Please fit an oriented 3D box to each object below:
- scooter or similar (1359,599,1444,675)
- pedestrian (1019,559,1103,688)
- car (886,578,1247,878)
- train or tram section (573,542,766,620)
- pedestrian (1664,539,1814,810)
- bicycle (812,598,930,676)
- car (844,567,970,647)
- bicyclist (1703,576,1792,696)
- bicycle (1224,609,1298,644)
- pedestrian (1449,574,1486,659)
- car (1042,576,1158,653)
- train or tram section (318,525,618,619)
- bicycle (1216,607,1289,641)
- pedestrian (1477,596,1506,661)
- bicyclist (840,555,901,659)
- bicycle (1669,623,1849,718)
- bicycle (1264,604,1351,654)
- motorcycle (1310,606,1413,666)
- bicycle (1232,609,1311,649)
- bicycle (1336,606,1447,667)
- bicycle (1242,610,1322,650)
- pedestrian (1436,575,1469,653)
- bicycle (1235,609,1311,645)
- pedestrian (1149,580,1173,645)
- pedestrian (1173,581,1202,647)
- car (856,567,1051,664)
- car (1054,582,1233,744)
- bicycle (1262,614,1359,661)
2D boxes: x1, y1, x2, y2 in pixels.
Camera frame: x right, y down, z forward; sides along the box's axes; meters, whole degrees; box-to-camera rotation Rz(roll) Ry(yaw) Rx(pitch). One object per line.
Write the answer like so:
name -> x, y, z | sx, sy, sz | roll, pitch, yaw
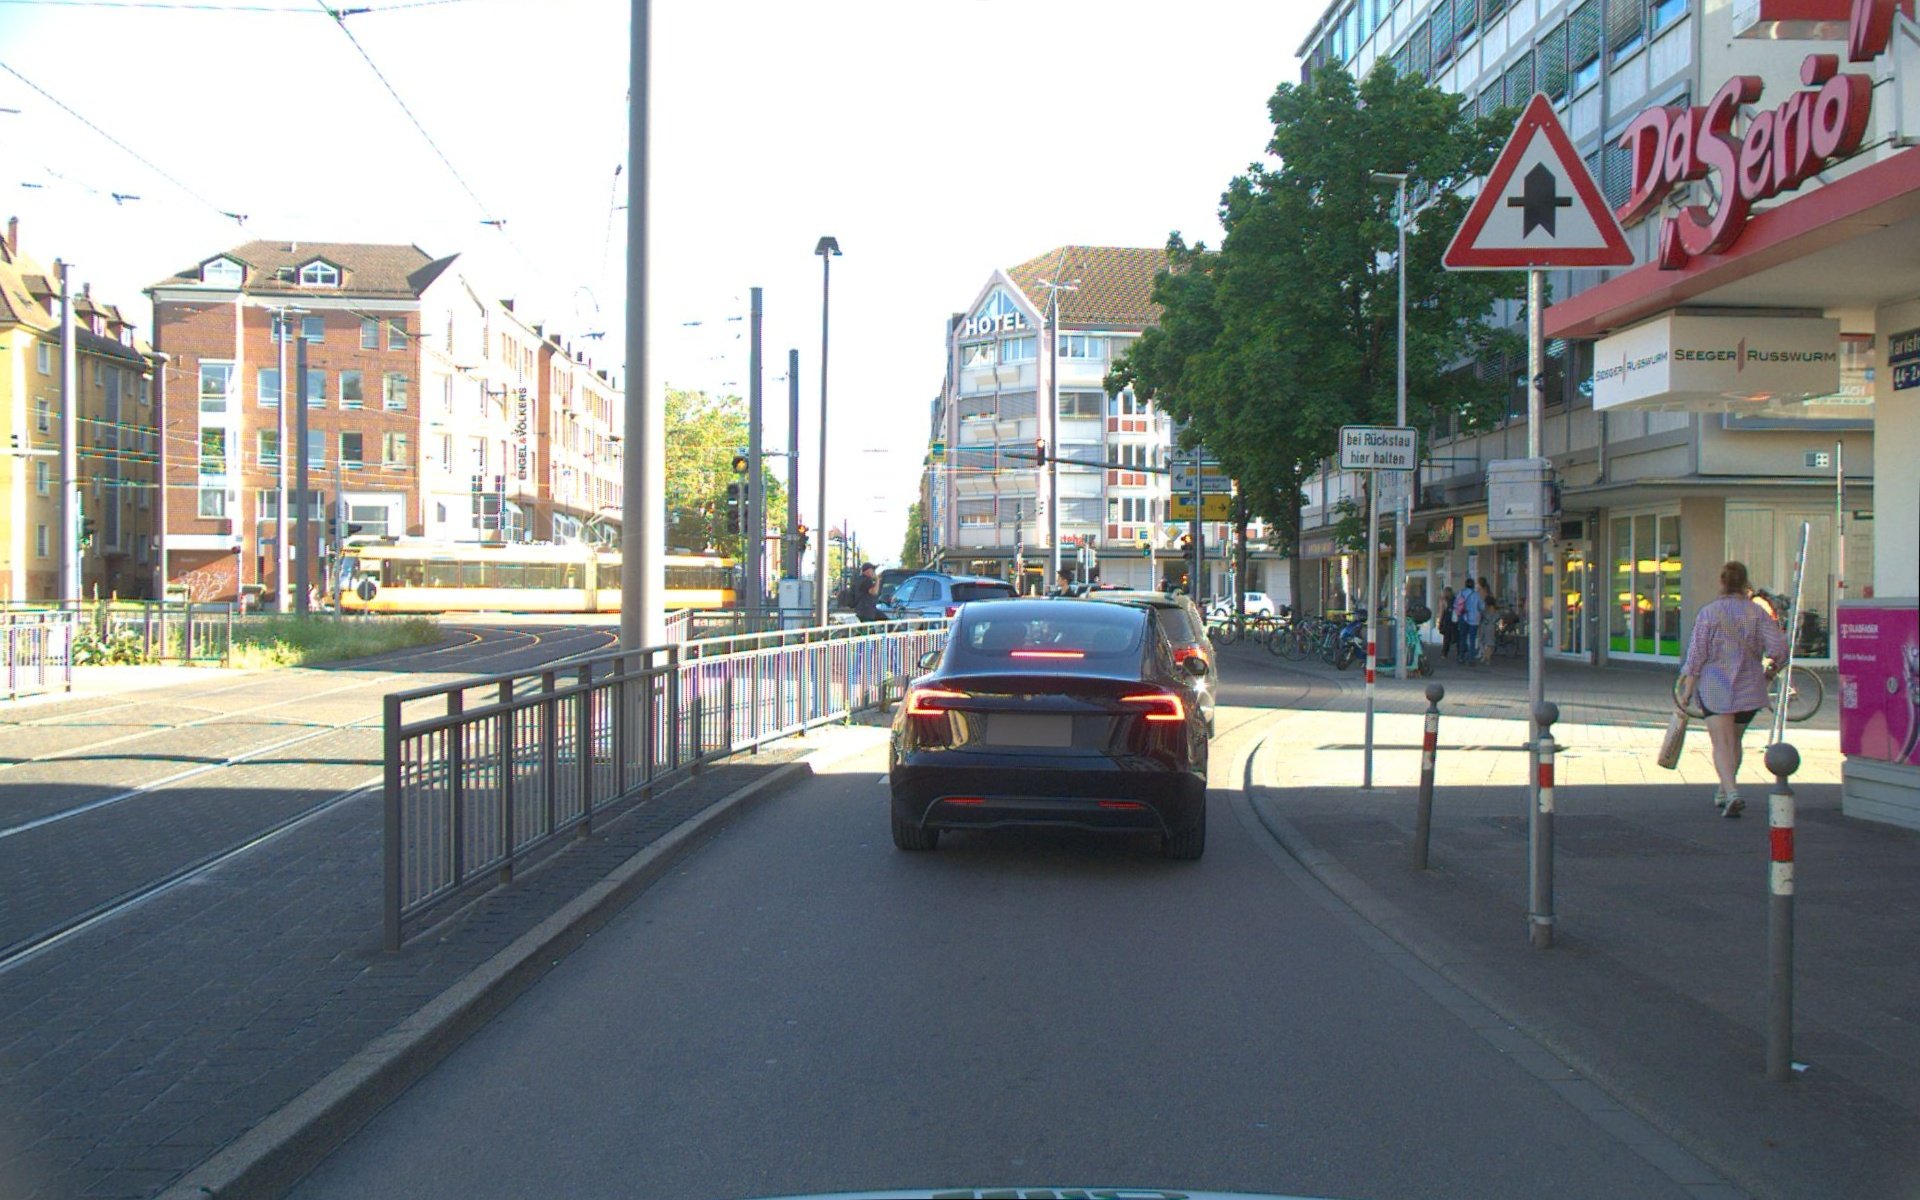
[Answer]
scooter or similar -> 7.943, 0.662, 29.754 | 1.392, 1.340, 0.690 | 1, -2, -27
pedestrian -> 1.418, 0.332, 23.241 | 0.992, 1.772, 0.524 | 2, 0, -27
car -> 0.478, 0.669, 10.484 | 1.812, 1.510, 3.785 | 2, 0, -3
train or tram section -> -15.389, -0.871, 89.855 | 2.583, 3.783, 15.384 | 2, 0, 22
pedestrian -> 5.186, 0.478, 11.054 | 0.800, 1.712, 0.714 | 2, 0, 21
bicycle -> -1.354, 0.556, 25.090 | 1.696, 1.107, 0.676 | 2, 0, -10
car -> -1.211, 0.127, 35.749 | 1.794, 1.545, 4.202 | 2, 0, -15
bicyclist -> 10.024, 0.454, 21.079 | 0.888, 1.463, 0.629 | 2, 0, 16
bicycle -> 8.078, 0.714, 44.419 | 1.885, 0.906, 0.526 | 1, 0, -1
pedestrian -> 10.144, 0.324, 33.041 | 0.583, 1.670, 0.466 | 0, 0, -1
car -> 3.014, 0.303, 36.417 | 1.790, 1.545, 3.644 | 2, 0, -7
train or tram section -> -22.651, -1.184, 77.481 | 2.635, 3.780, 14.107 | 2, 0, 41
bicycle -> 8.029, 0.662, 45.404 | 1.885, 0.906, 0.526 | 1, 0, -1
pedestrian -> 10.695, 0.573, 33.289 | 0.411, 1.303, 0.531 | 0, 0, 0
bicyclist -> -1.361, 0.102, 25.081 | 0.821, 1.526, 0.559 | 2, 0, -10
bicycle -> 10.129, 0.878, 21.045 | 1.931, 1.091, 0.775 | 2, 0, 17
bicycle -> 8.040, 0.674, 38.264 | 1.885, 1.116, 0.554 | 1, 0, -1
motorcycle -> 8.298, 0.734, 34.227 | 1.951, 1.147, 0.596 | 2, 0, -2
bicycle -> 7.955, 0.738, 42.269 | 1.885, 0.967, 0.526 | 1, 0, -1
bicycle -> 8.379, 0.700, 32.148 | 2.010, 1.141, 0.483 | 1, 0, -1
bicycle -> 8.019, 0.741, 41.255 | 1.885, 0.967, 0.526 | 1, 0, -1
pedestrian -> 10.736, 0.302, 36.052 | 0.520, 1.670, 0.606 | 0, 0, 0
bicycle -> 8.204, 0.702, 43.403 | 1.885, 0.903, 0.526 | 1, 0, -1
pedestrian -> 5.383, 0.336, 44.333 | 0.550, 1.712, 0.750 | 1, 0, 3
pedestrian -> 5.802, 0.354, 42.180 | 0.616, 1.642, 0.643 | 1, 0, 2
car -> -0.204, 0.232, 29.422 | 1.762, 1.545, 4.182 | 2, 0, -27
car -> 1.954, 0.567, 17.465 | 1.618, 1.443, 4.003 | 2, 1, 7
bicycle -> 7.699, 0.815, 36.352 | 2.010, 0.999, 0.483 | 1, 0, -1
